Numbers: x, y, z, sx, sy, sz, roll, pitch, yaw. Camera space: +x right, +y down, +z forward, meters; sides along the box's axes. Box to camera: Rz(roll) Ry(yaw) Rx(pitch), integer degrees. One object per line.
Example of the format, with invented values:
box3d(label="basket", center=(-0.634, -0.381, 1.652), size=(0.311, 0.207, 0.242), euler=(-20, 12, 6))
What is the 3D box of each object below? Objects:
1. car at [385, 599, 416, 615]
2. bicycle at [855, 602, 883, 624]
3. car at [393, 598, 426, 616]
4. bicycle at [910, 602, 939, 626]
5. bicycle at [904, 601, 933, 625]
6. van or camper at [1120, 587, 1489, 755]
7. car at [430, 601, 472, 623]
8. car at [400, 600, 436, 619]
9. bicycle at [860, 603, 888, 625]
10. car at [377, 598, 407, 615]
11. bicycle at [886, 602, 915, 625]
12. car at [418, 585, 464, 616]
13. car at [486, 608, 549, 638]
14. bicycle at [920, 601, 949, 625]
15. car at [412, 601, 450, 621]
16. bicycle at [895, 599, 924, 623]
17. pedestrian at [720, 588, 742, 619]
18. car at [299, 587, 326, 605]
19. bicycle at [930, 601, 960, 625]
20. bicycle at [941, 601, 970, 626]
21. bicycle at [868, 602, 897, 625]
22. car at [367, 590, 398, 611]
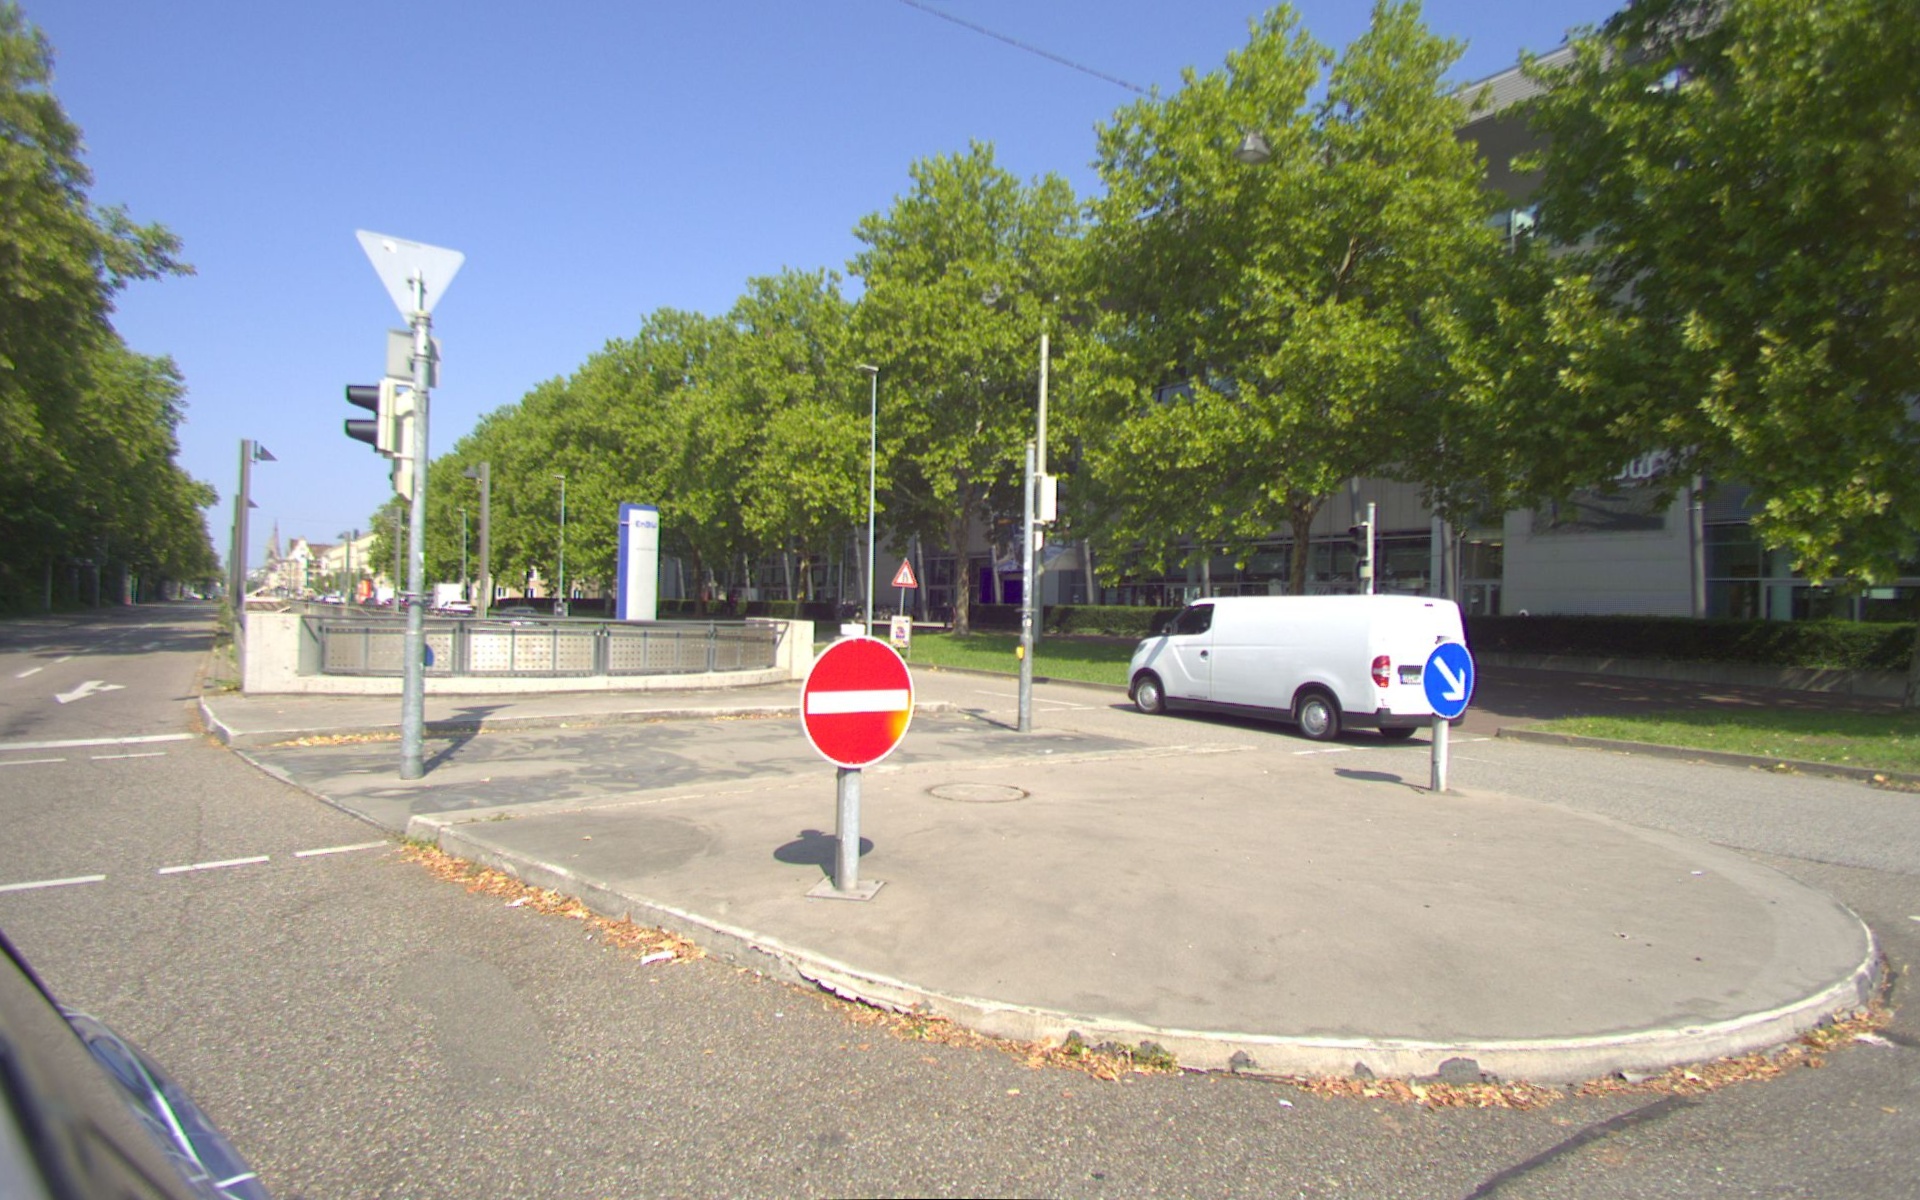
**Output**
box3d(label="car", center=(-52.109, 0.637, 94.184), size=(1.968, 1.464, 4.009), euler=(-1, 1, -37))
box3d(label="bicycle", center=(-6.682, 0.933, 74.104), size=(2.137, 1.566, 0.601), euler=(-2, 1, -44))
box3d(label="car", center=(-48.813, 0.600, 89.677), size=(1.968, 1.464, 4.009), euler=(-1, 1, -37))
box3d(label="bicycle", center=(-2.433, 0.964, 69.677), size=(2.137, 1.566, 0.601), euler=(-2, 1, -44))
box3d(label="bicycle", center=(-2.899, 0.898, 70.197), size=(2.137, 1.566, 0.601), euler=(-2, 1, -44))
box3d(label="van or camper", center=(4.631, 0.859, 14.501), size=(1.815, 1.962, 4.963), euler=(4, -1, -29))
box3d(label="car", center=(-36.309, 0.805, 72.159), size=(1.968, 1.464, 4.009), euler=(-1, 1, -37))
box3d(label="car", center=(-45.275, 0.798, 84.528), size=(1.968, 1.464, 4.009), euler=(-1, 1, -37))
box3d(label="bicycle", center=(-6.251, 1.022, 73.603), size=(2.137, 1.566, 0.601), euler=(-2, 1, -44))
box3d(label="car", center=(-54.884, 0.613, 97.754), size=(1.968, 1.464, 4.009), euler=(-1, 1, -37))
box3d(label="bicycle", center=(-4.197, 0.945, 71.485), size=(2.137, 1.566, 0.601), euler=(-2, 1, -44))
box3d(label="car", center=(-39.120, 0.025, 76.294), size=(2.256, 2.249, 4.666), euler=(-1, 1, -37))
box3d(label="car", center=(-19.995, 1.007, 45.666), size=(1.635, 1.230, 3.902), euler=(-1, 1, -39))
box3d(label="bicycle", center=(-1.736, 0.901, 69.088), size=(2.137, 1.566, 0.601), euler=(-2, 1, -44))
box3d(label="car", center=(-41.920, 0.828, 80.148), size=(1.968, 1.464, 4.009), euler=(-1, 1, -37))
box3d(label="bicycle", center=(-3.546, 0.758, 70.909), size=(2.137, 1.566, 0.601), euler=(-2, 1, -44))
box3d(label="pedestrian", center=(-14.982, 0.212, 66.172), size=(0.933, 2.029, 1.352), euler=(-1, 1, -35))
box3d(label="car", center=(-74.551, -0.492, 116.560), size=(1.969, 2.029, 4.005), euler=(-1, 1, -42))
box3d(label="bicycle", center=(-1.020, 0.886, 68.459), size=(2.137, 1.566, 0.601), euler=(-2, 1, -44))
box3d(label="bicycle", center=(-0.303, 0.891, 67.701), size=(2.137, 1.566, 0.601), euler=(-2, 1, -44))
box3d(label="bicycle", center=(-5.569, 0.956, 72.861), size=(2.137, 1.566, 0.601), euler=(-2, 1, -44))
box3d(label="car", center=(-61.567, 0.017, 107.807), size=(2.256, 2.095, 4.666), euler=(-1, 1, -37))
